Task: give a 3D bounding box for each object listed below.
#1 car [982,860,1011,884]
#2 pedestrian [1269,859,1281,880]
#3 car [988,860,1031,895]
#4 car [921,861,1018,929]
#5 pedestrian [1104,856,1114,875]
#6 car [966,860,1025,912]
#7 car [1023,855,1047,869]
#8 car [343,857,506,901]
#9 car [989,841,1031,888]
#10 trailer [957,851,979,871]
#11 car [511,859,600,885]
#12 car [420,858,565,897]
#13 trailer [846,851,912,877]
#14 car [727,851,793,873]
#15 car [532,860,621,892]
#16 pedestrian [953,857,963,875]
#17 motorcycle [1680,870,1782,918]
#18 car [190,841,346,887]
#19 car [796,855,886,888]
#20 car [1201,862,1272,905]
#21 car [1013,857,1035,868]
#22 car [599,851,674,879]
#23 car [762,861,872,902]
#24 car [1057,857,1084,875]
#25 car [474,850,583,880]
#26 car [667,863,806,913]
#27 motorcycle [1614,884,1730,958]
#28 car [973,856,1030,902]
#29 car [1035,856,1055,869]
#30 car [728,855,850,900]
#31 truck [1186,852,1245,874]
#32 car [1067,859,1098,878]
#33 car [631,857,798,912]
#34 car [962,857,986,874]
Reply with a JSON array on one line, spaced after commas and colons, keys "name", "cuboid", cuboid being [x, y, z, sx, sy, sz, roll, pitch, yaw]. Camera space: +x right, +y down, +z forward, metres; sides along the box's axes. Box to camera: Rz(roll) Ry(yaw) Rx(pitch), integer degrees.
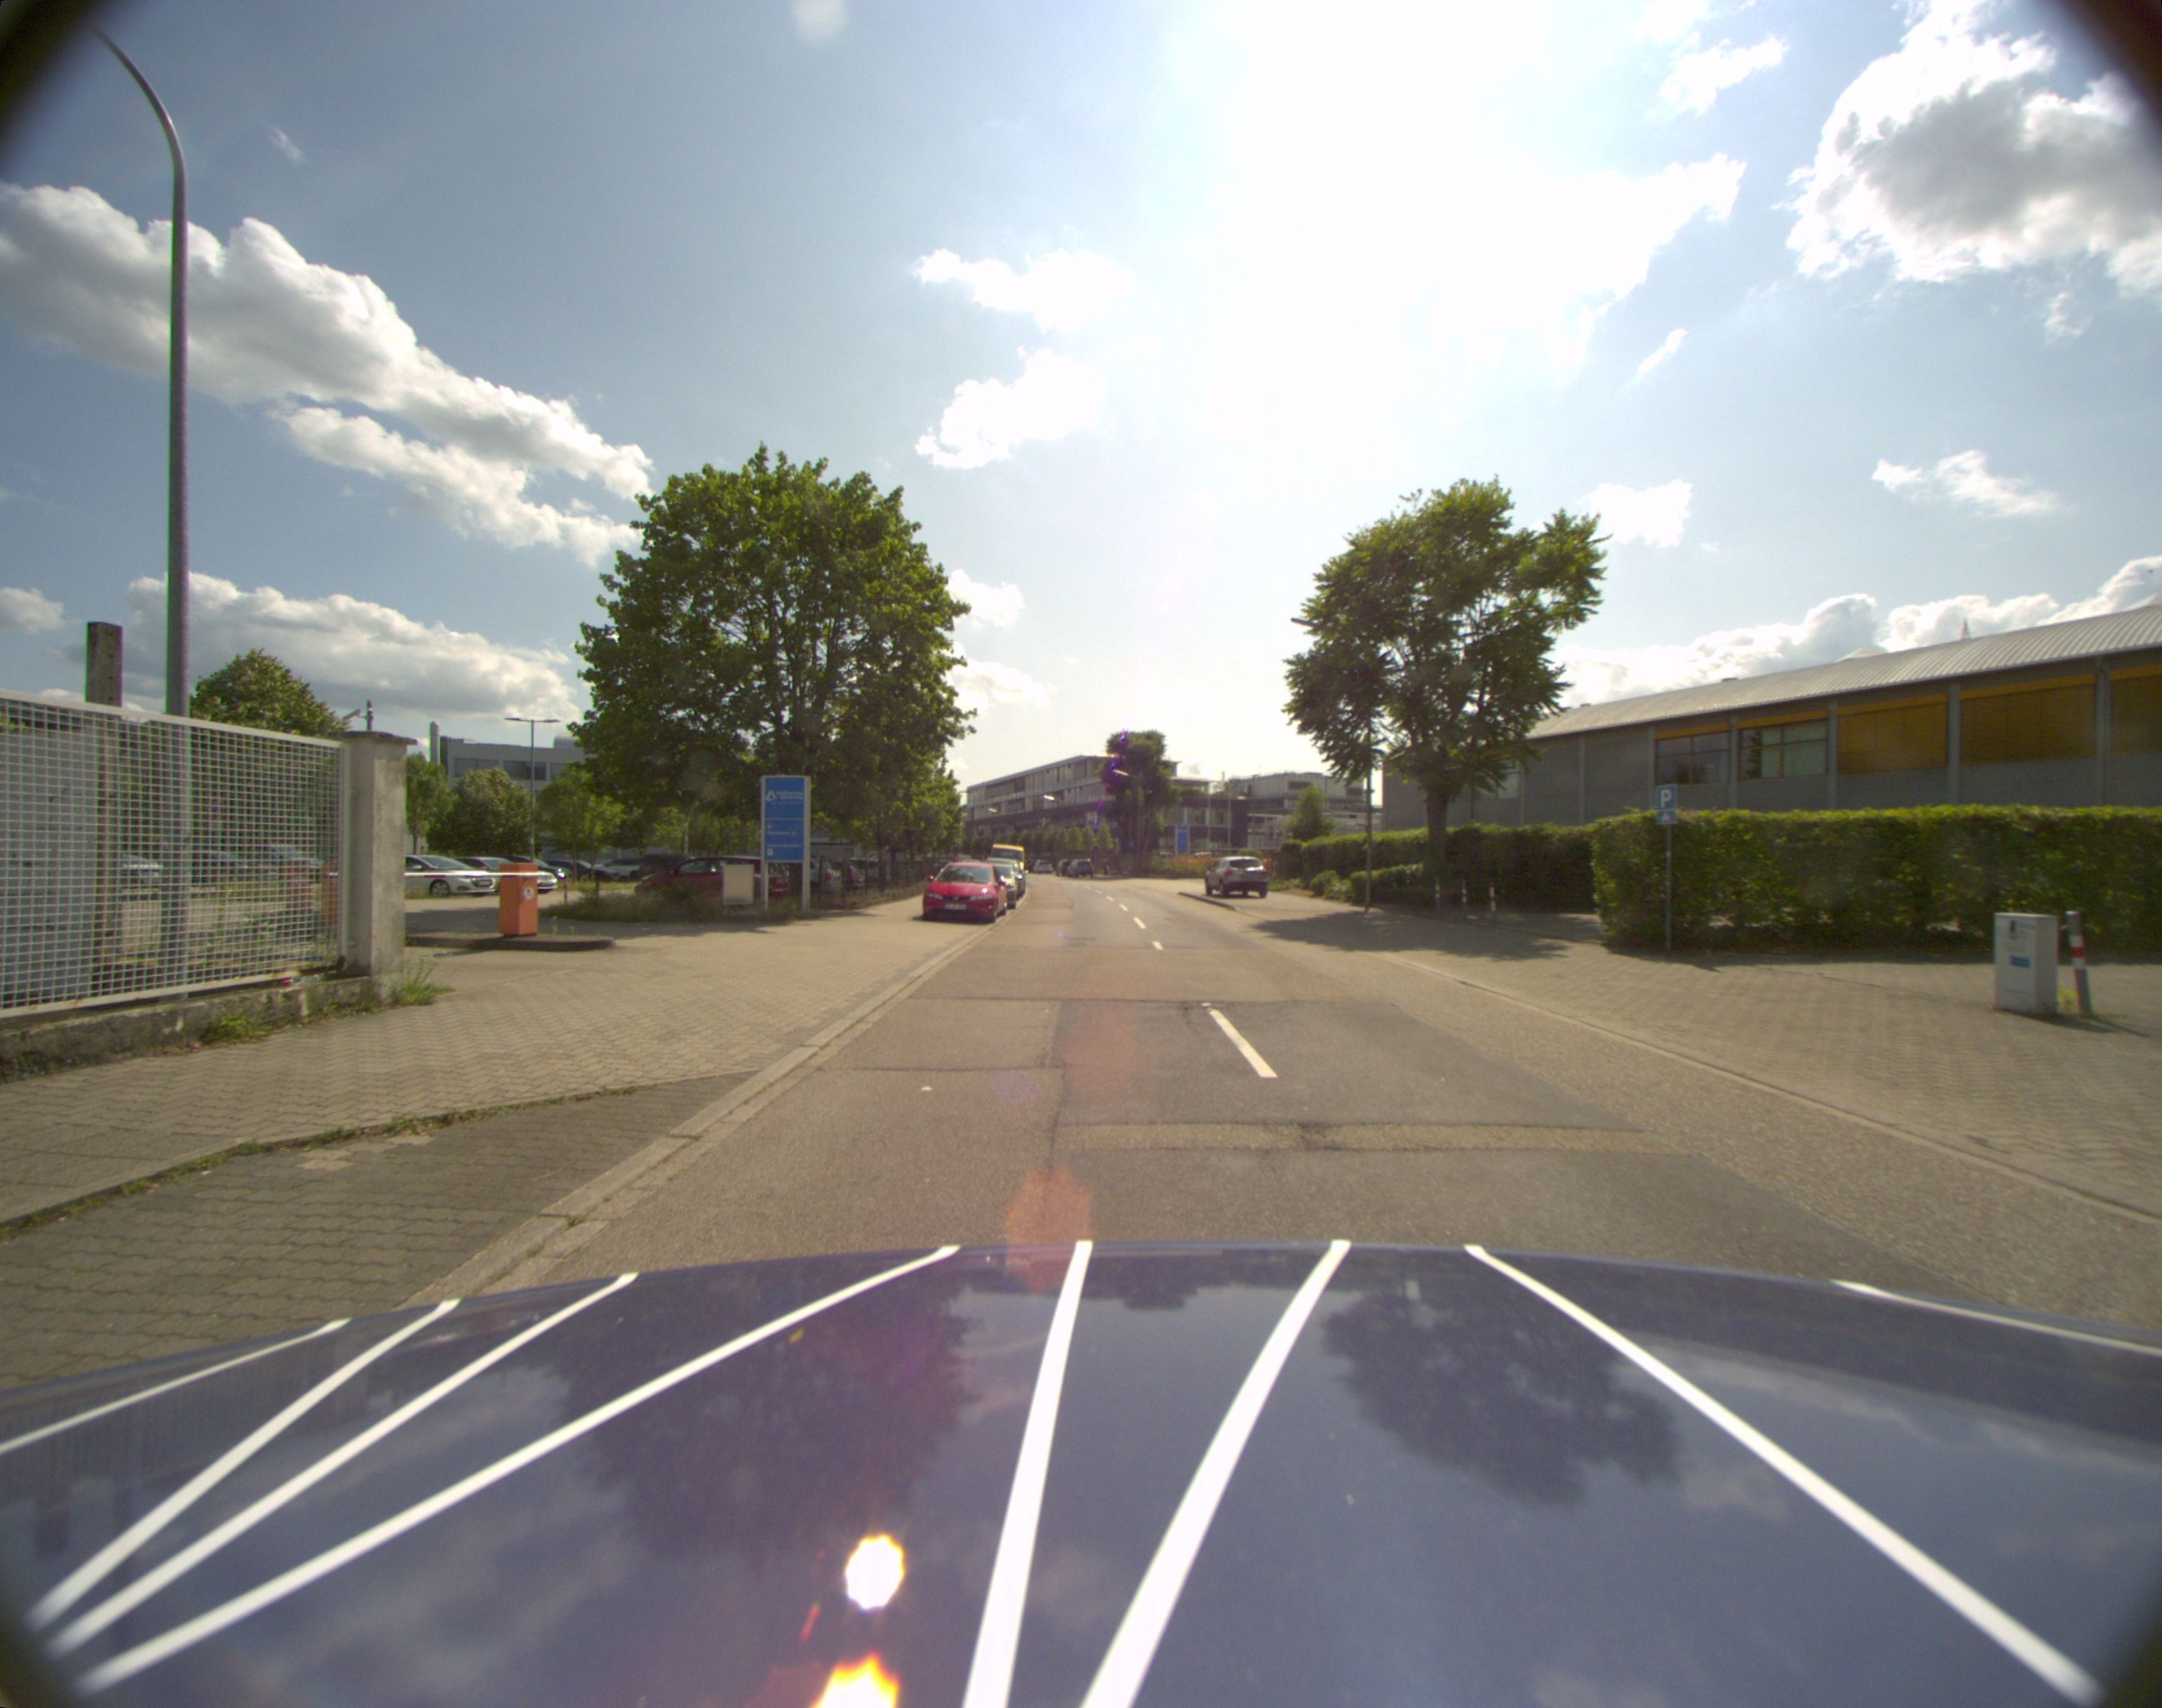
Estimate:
[{"name": "car", "cuboid": [-7.010, 1.447, 62.437, 1.856, 1.755, 5.072, 2, -1, -11]}, {"name": "pedestrian", "cuboid": [15.729, 1.239, 61.704, 0.550, 1.682, 0.731, 0, 3, -30]}, {"name": "car", "cuboid": [-3.458, 1.100, 36.977, 1.881, 1.468, 5.165, 3, 0, -5]}, {"name": "car", "cuboid": [-2.784, 0.982, 19.896, 1.758, 1.477, 4.225, 4, 0, 1]}, {"name": "pedestrian", "cuboid": [2.686, 1.064, 72.586, 0.831, 1.751, 0.845, -1, 1, -8]}, {"name": "car", "cuboid": [-2.799, 0.995, 25.179, 1.705, 1.477, 3.806, 4, 0, -5]}, {"name": "car", "cuboid": [-5.620, 0.936, 91.511, 1.741, 1.646, 4.304, 0, 0, -20]}, {"name": "car", "cuboid": [-21.688, 0.794, 25.211, 3.762, 1.387, 2.014, 0, -1, 4]}, {"name": "car", "cuboid": [-4.131, 0.588, 44.319, 2.163, 2.450, 6.636, 2, 0, -5]}, {"name": "trailer", "cuboid": [-12.612, 0.748, 84.605, 1.753, 2.055, 3.941, 3, -1, -18]}, {"name": "car", "cuboid": [-29.952, 1.025, 43.390, 3.762, 1.404, 1.752, -1, -2, -11]}, {"name": "car", "cuboid": [-21.713, 0.847, 28.138, 4.012, 1.387, 1.845, 0, 0, 4]}, {"name": "trailer", "cuboid": [-16.367, 0.790, 61.848, 5.066, 2.070, 2.059, 1, 0, -13]}, {"name": "car", "cuboid": [-26.982, 0.692, 64.060, 4.868, 1.756, 1.913, 1, 0, -13]}, {"name": "car", "cuboid": [-31.062, 1.332, 46.900, 4.095, 1.924, 1.996, 0, 0, -11]}, {"name": "pedestrian", "cuboid": [-11.707, 1.131, 72.328, 0.724, 1.683, 0.738, 4, -1, -18]}, {"name": "motorcycle", "cuboid": [17.174, 1.029, 20.150, 0.535, 1.195, 2.002, 1, 0, -26]}, {"name": "car", "cuboid": [-39.825, 0.478, 37.342, 4.942, 2.091, 2.109, -1, 0, -9]}, {"name": "car", "cuboid": [-12.586, 0.935, 40.062, 4.332, 1.611, 1.761, 2, 0, -11]}, {"name": "car", "cuboid": [6.245, 1.151, 30.988, 1.762, 1.565, 4.476, 0, 0, -3]}, {"name": "car", "cuboid": [-7.261, 1.077, 96.354, 1.741, 1.436, 3.923, -1, 0, -22]}, {"name": "car", "cuboid": [-30.962, 0.757, 53.084, 4.095, 1.924, 1.996, 0, 0, -11]}, {"name": "car", "cuboid": [-10.887, 1.118, 31.549, 3.884, 1.584, 1.910, 1, 0, 1]}, {"name": "car", "cuboid": [-1.105, 1.212, 77.030, 1.782, 1.672, 4.225, -1, 0, -15]}, {"name": "car", "cuboid": [-29.461, 0.581, 40.653, 4.282, 1.548, 1.998, 0, 0, -9]}, {"name": "car", "cuboid": [-11.771, 1.127, 26.131, 3.884, 1.584, 1.910, 1, 0, 1]}, {"name": "motorcycle", "cuboid": [11.041, 1.206, 14.294, 0.533, 1.213, 2.085, 1, 0, -1]}, {"name": "car", "cuboid": [-3.145, 0.954, 30.788, 1.837, 1.598, 4.568, 4, 0, -1]}, {"name": "car", "cuboid": [-4.122, 0.966, 87.093, 1.615, 1.514, 3.070, 0, 0, -18]}, {"name": "car", "cuboid": [-11.044, 0.866, 28.924, 3.884, 1.627, 1.910, 1, 0, 1]}, {"name": "truck", "cuboid": [16.404, 1.071, 92.569, 6.944, 2.642, 2.400, 0, 0, -25]}, {"name": "car", "cuboid": [0.079, 1.329, 71.719, 1.806, 1.641, 4.684, -1, 0, -14]}, {"name": "car", "cuboid": [-11.237, 0.909, 23.500, 4.219, 1.584, 1.910, 1, 0, 1]}, {"name": "car", "cuboid": [-11.362, 1.165, 80.432, 1.868, 1.672, 4.704, 3, -1, -16]}]
